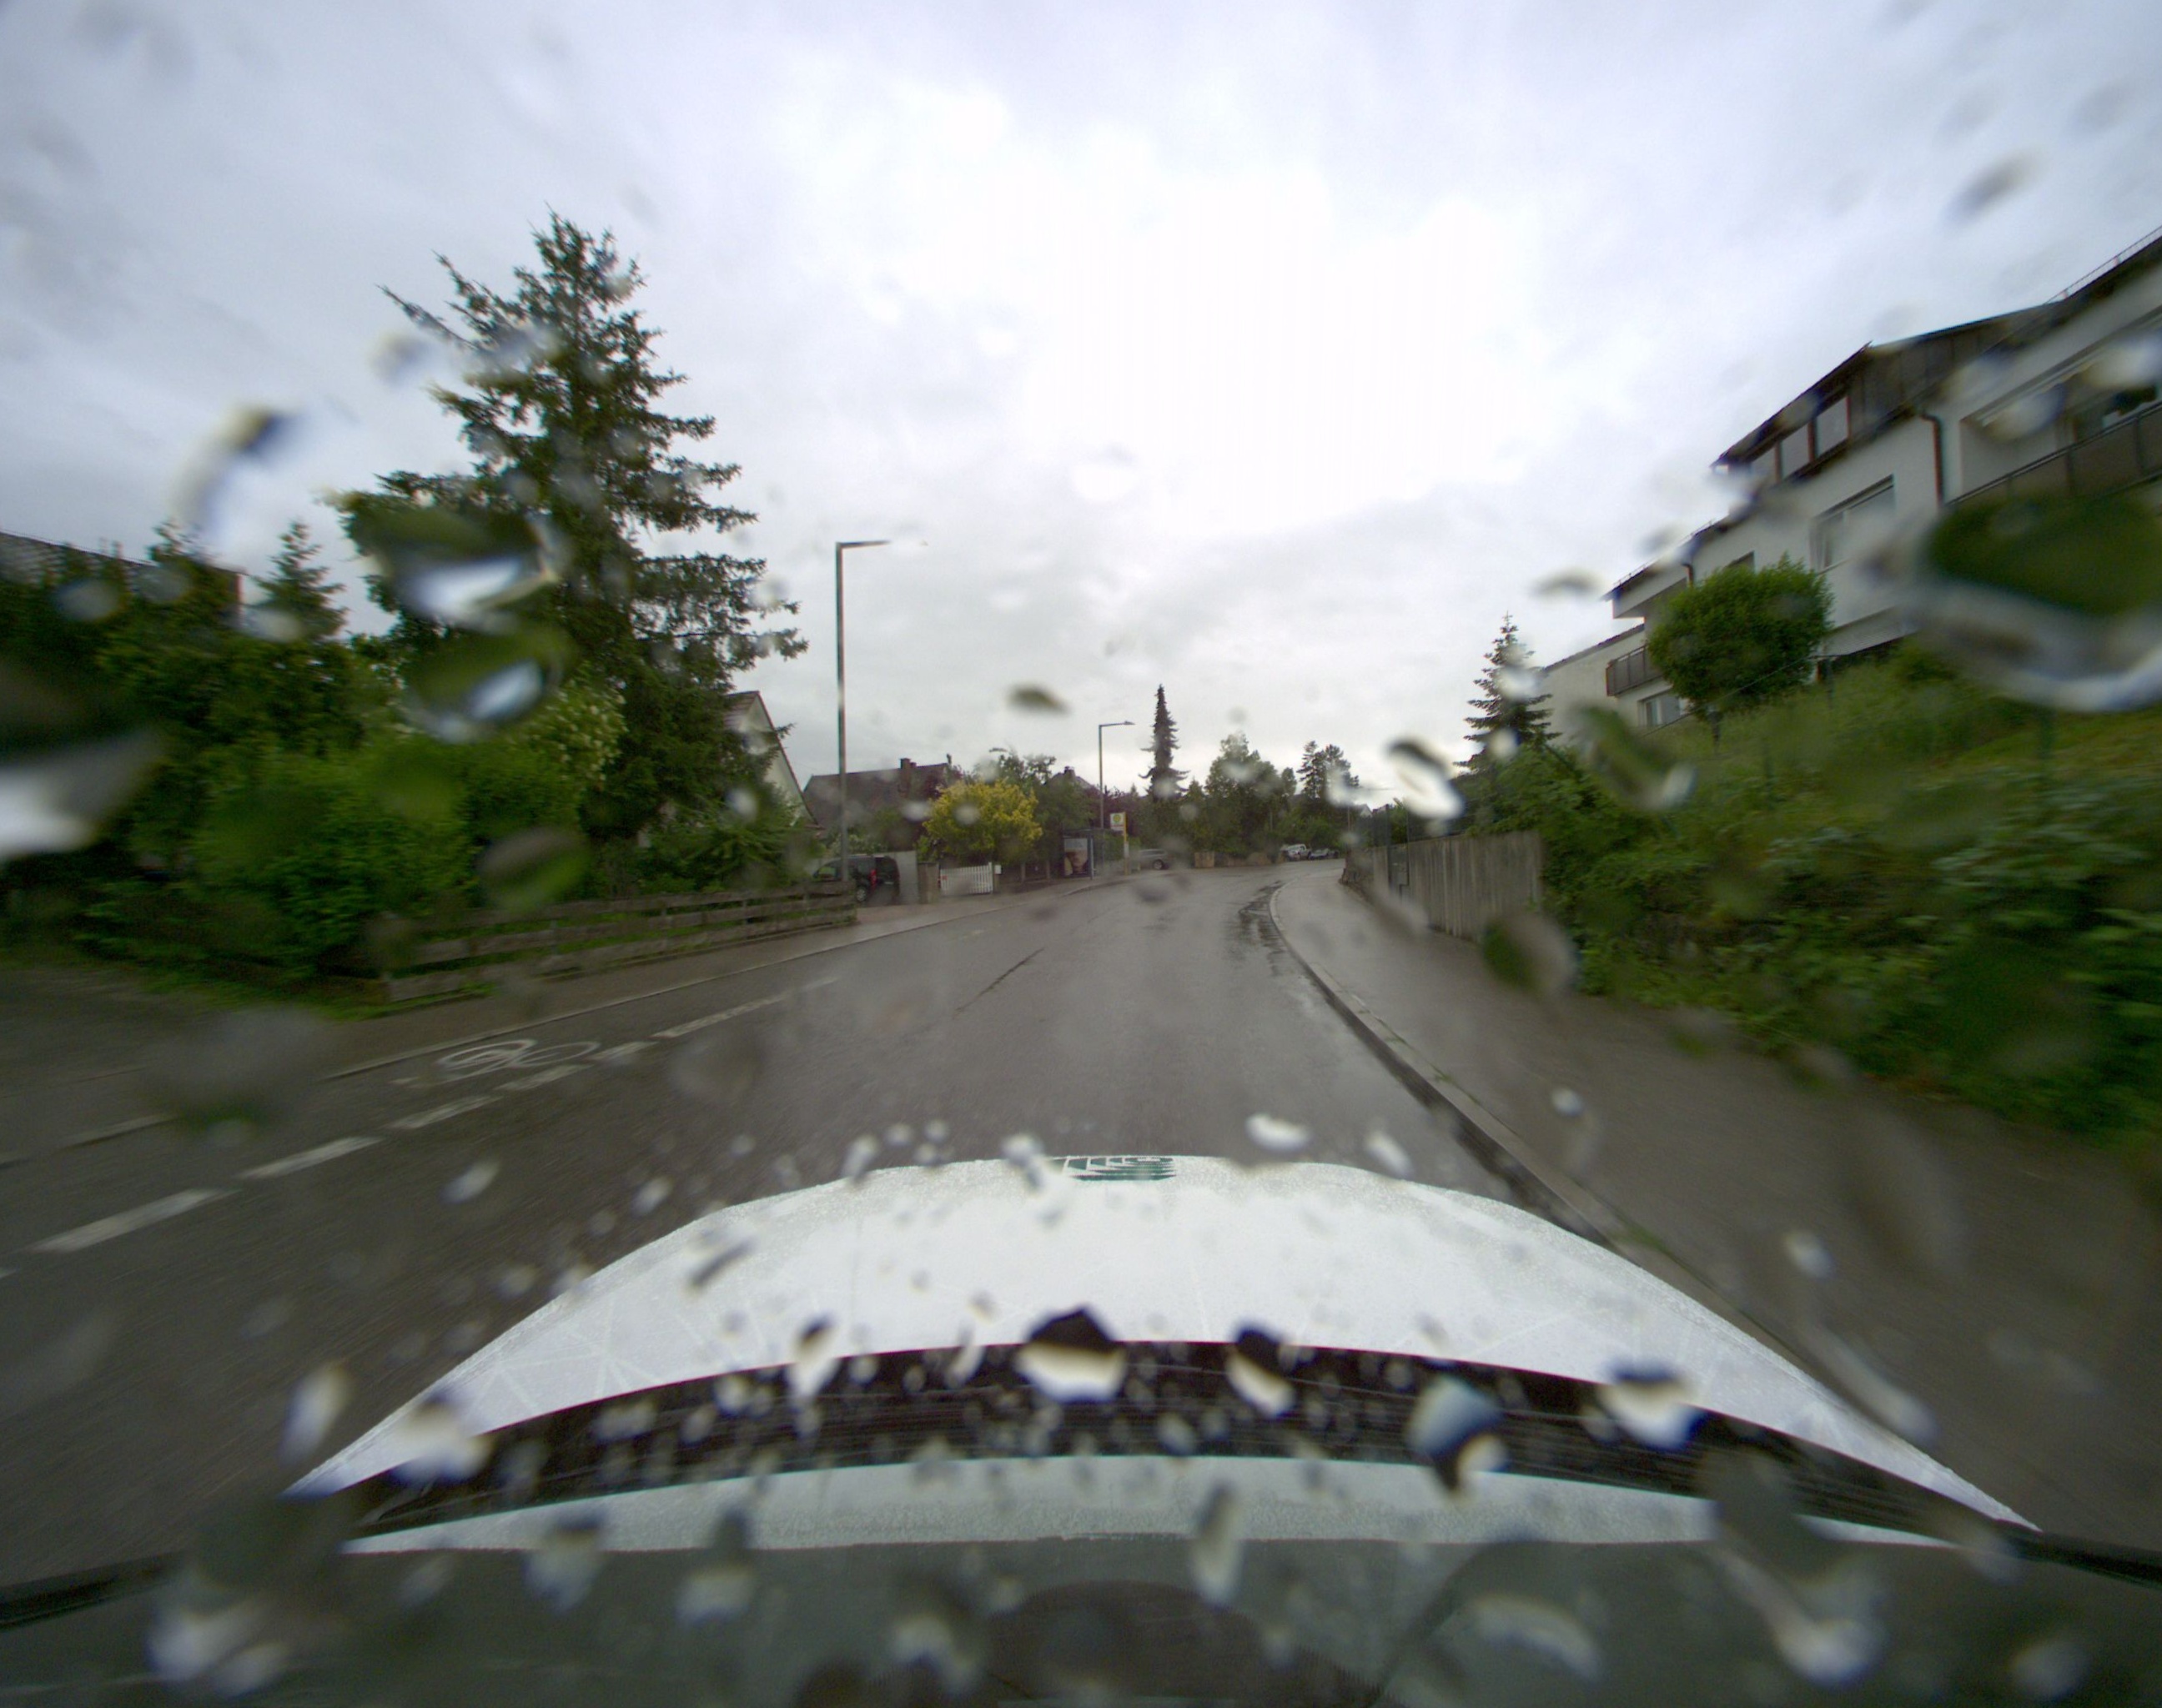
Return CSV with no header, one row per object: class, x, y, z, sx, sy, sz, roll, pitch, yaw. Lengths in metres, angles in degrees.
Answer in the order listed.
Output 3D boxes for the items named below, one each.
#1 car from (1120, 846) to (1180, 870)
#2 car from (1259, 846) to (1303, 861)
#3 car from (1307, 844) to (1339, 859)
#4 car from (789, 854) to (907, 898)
car,4.801,0.258,56.770,3.815,1.572,1.794,-2,0,16
car,20.760,-0.032,84.700,3.948,1.460,1.914,-2,0,36
car,27.140,-0.286,91.267,1.974,1.460,4.026,-2,0,38
car,-9.029,0.845,31.565,3.952,1.620,2.011,-1,0,21
